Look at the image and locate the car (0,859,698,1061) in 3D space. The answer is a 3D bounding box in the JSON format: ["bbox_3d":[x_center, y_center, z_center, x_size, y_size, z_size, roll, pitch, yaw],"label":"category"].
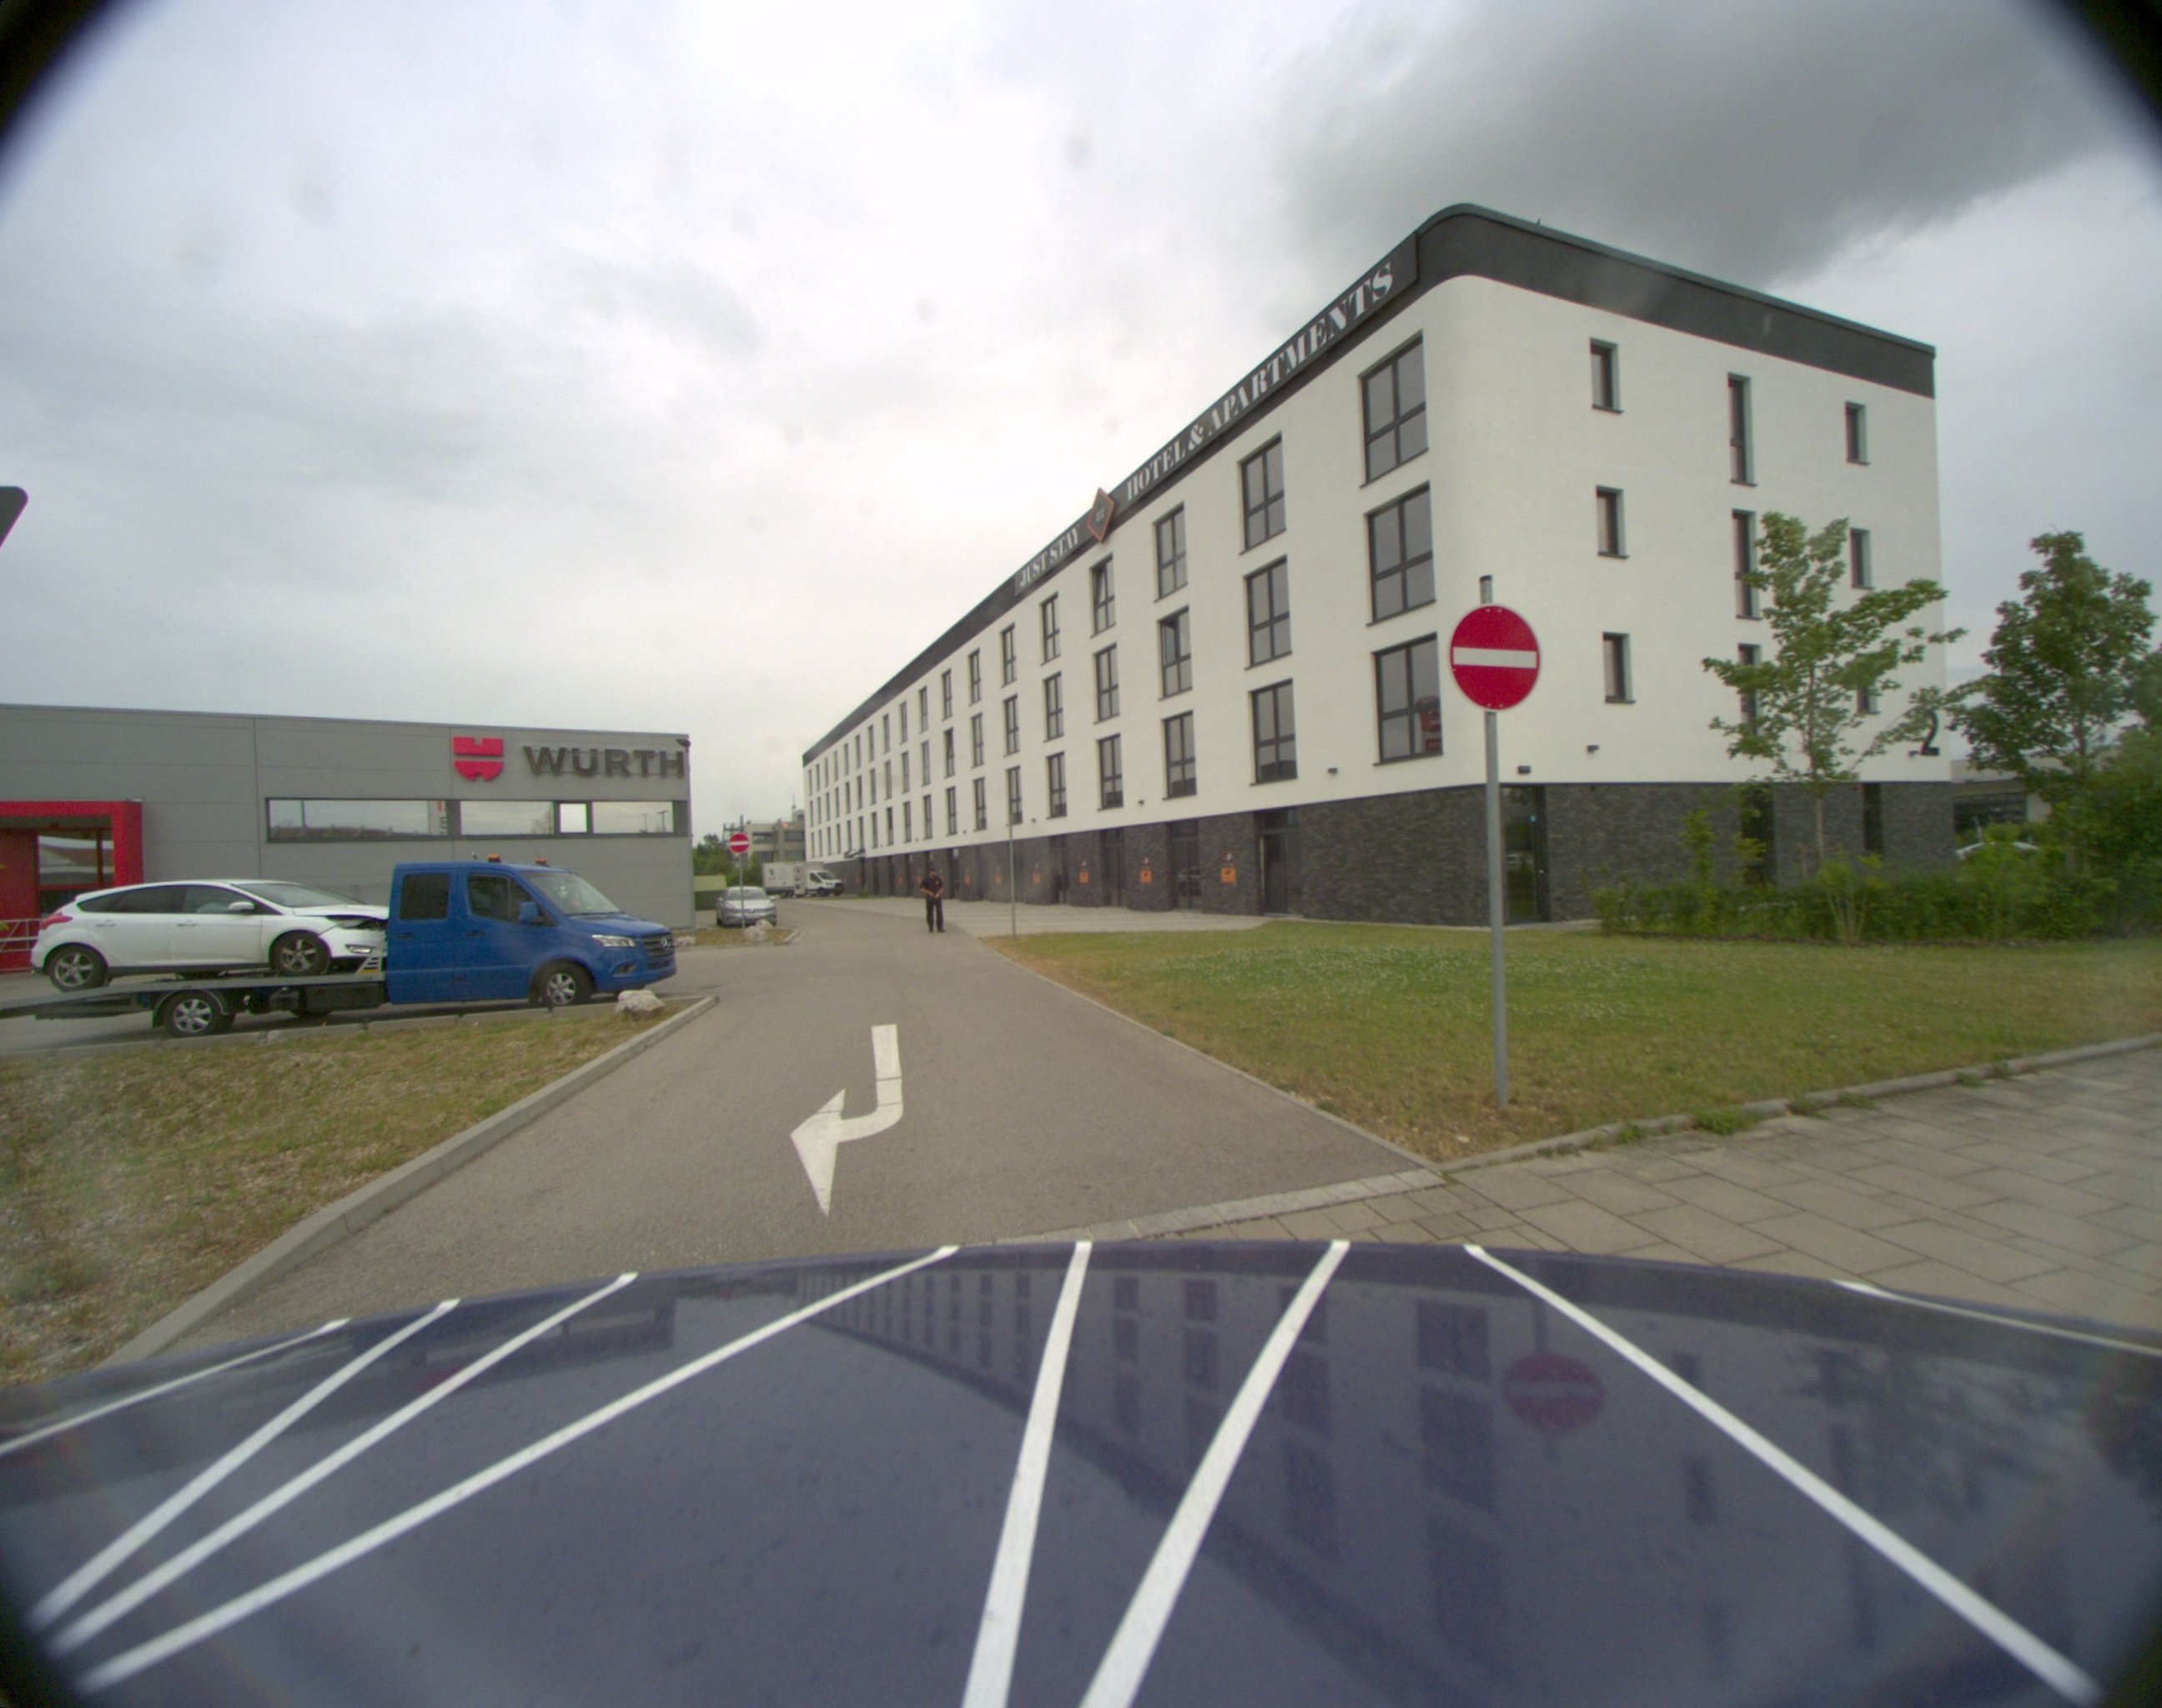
[{"bbox_3d":[-10.296,1.376,11.300,7.855,2.309,2.200,-2,0,-7],"label":"car"}]

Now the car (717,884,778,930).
[{"bbox_3d":[-12.654,1.955,29.036,1.983,1.482,4.762,0,-1,-22],"label":"car"}]

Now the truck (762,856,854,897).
[{"bbox_3d":[-22.197,1.843,61.797,7.053,2.999,2.440,-2,1,22],"label":"truck"}]

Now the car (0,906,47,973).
[{"bbox_3d":[-34.666,2.716,22.924,3.680,1.968,1.673,-3,1,-28],"label":"car"}]

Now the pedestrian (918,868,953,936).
[{"bbox_3d":[-4.020,1.307,20.969,0.710,1.811,0.811,-2,0,-23],"label":"pedestrian"}]
